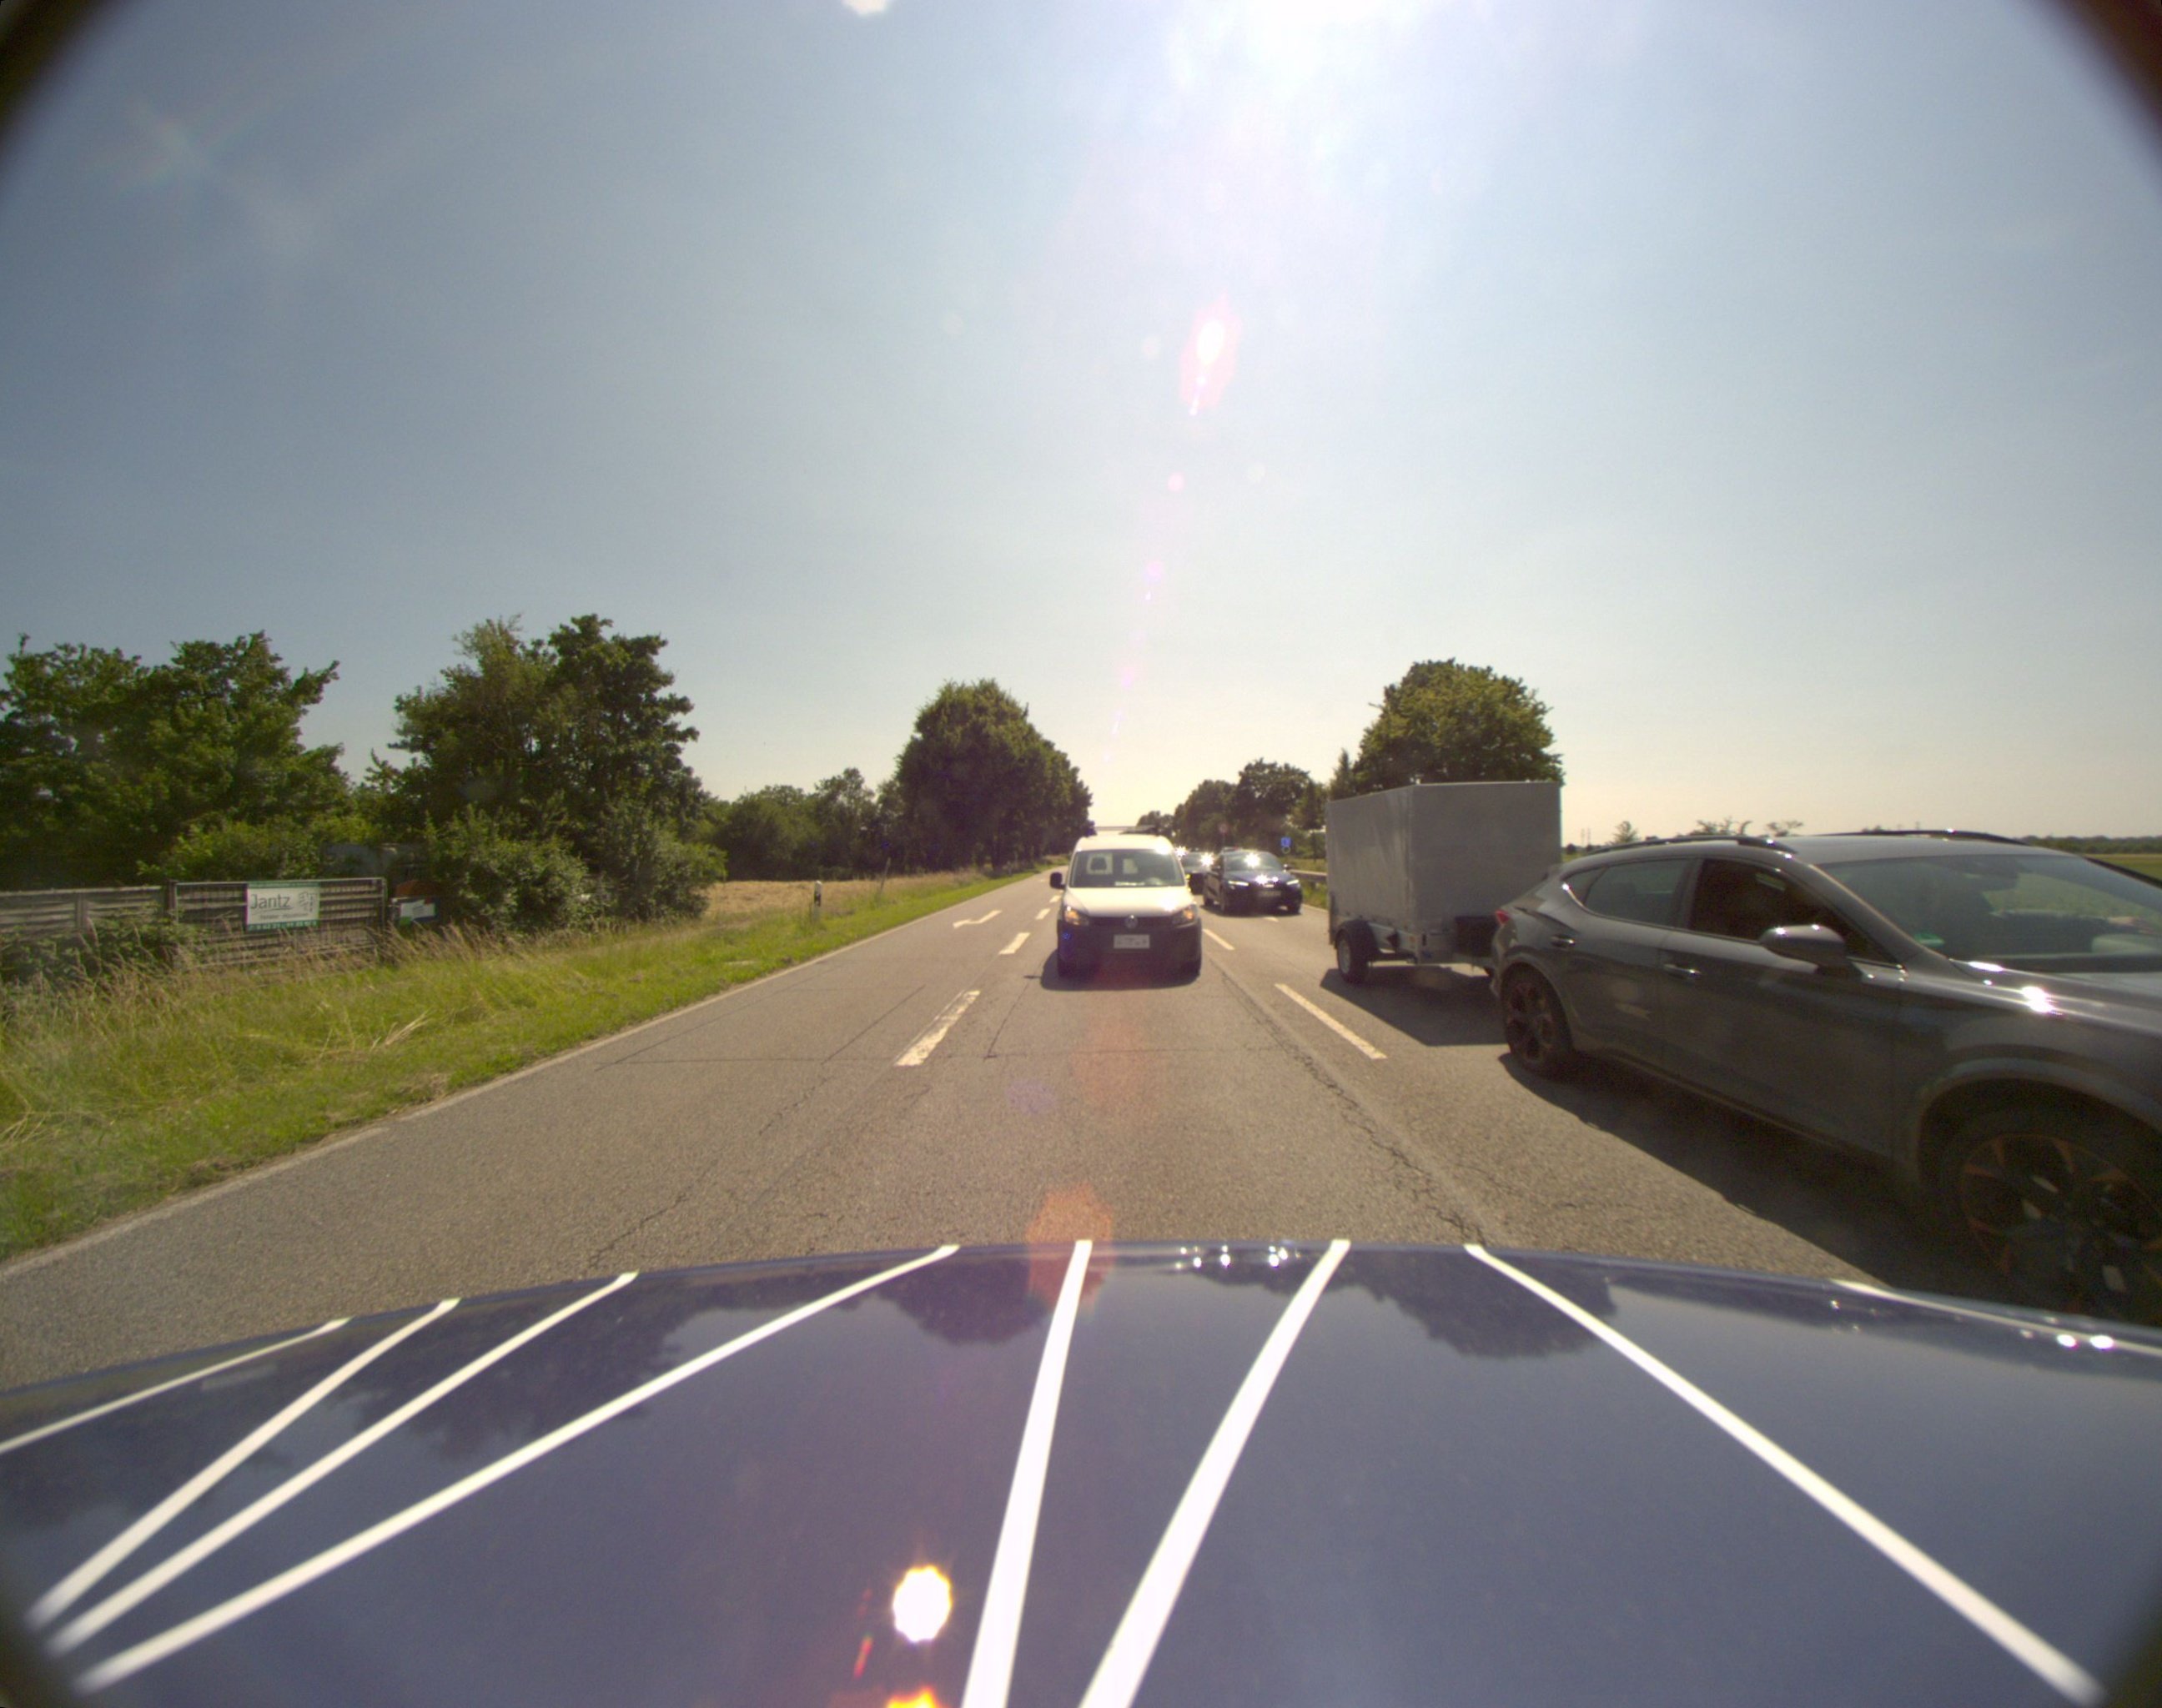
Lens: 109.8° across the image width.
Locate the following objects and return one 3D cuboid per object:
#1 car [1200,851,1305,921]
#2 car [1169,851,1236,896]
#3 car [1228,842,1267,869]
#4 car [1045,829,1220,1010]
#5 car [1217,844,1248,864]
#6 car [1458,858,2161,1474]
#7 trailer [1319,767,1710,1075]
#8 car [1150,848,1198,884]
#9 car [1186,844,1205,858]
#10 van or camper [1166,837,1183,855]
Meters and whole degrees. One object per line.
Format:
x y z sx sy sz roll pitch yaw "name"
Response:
4.066 0.699 18.649 1.721 1.456 4.030 -2 1 1 "car"
4.196 0.641 26.937 1.744 1.372 4.455 -2 1 2 "car"
10.572 0.102 48.345 1.749 1.629 4.136 0 0 3 "car"
0.603 0.675 10.369 1.777 1.863 4.581 -2 1 1 "car"
14.927 0.006 75.056 1.998 1.920 5.015 0 0 0 "car"
3.628 0.812 3.334 1.750 1.494 4.362 -2 0 0 "car"
3.746 0.469 7.500 1.504 2.160 4.174 -2 0 1 "trailer"
4.237 0.494 35.244 1.860 1.507 4.100 -2 1 2 "car"
15.446 -0.348 102.598 1.862 1.845 4.696 0 0 0 "car"
16.245 -1.349 132.788 2.269 3.081 5.694 0 0 0 "van or camper"
